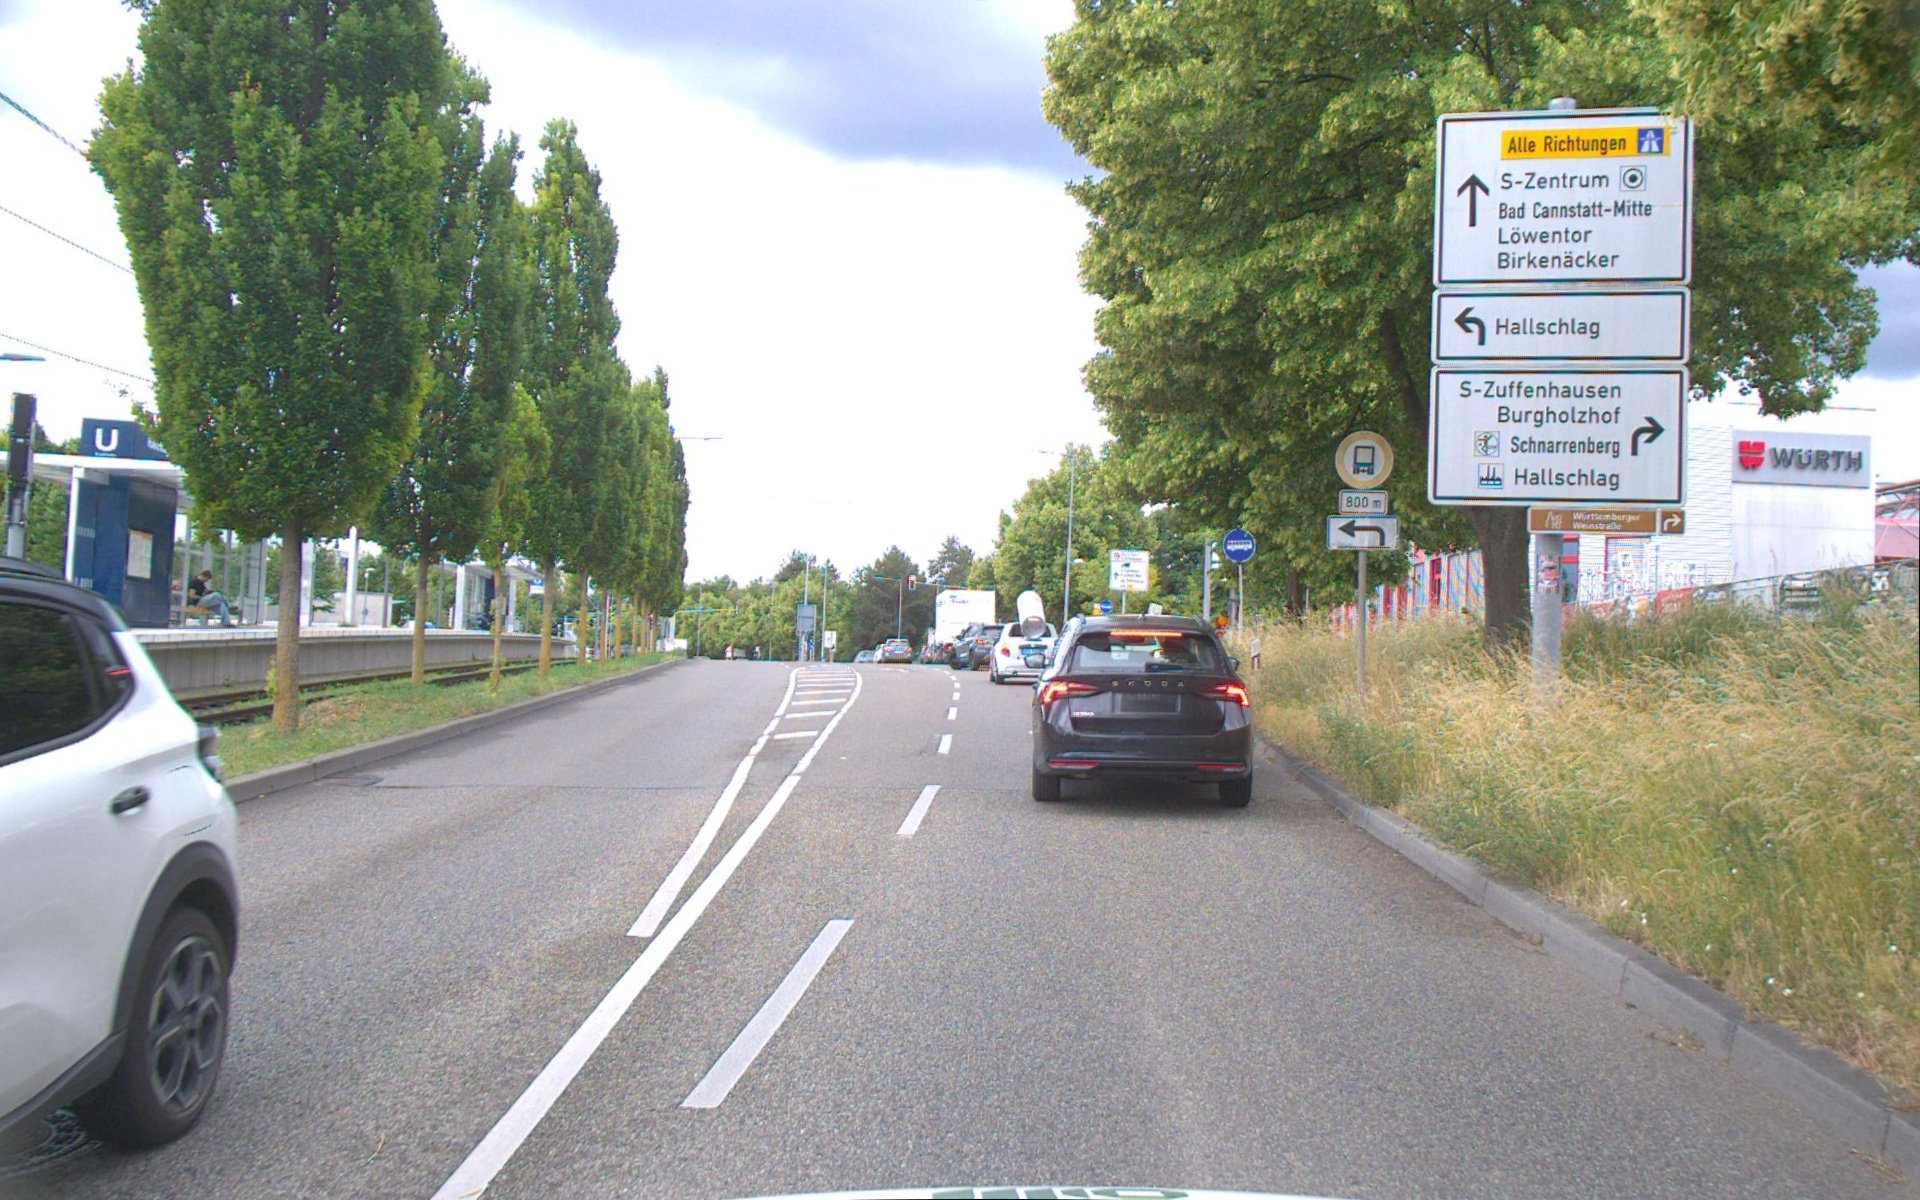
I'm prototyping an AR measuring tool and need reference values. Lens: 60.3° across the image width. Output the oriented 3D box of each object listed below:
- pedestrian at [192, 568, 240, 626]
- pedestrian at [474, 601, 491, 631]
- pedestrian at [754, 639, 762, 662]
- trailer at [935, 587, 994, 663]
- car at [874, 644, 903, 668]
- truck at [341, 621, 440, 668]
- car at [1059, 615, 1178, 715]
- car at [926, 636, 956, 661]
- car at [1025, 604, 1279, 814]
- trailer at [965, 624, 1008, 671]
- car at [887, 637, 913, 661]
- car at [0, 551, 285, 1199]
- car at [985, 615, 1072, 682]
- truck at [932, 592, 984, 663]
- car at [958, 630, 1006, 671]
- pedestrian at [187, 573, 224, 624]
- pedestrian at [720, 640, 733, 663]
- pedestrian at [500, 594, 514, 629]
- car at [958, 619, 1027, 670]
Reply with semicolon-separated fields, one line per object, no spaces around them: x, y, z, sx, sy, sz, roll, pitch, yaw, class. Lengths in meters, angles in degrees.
-15.933;-0.062;35.434;0.746;1.220;0.664;1;-1;-6;pedestrian
-20.572;0.690;71.287;0.599;1.291;0.658;1;0;-10;pedestrian
-14.634;3.669;119.785;0.575;1.650;0.422;1;0;-7;pedestrian
0.168;1.413;87.077;2.515;3.771;7.755;1;-3;-4;trailer
-4.701;3.703;108.730;1.688;1.447;4.351;1;-3;-5;car
-46.624;3.605;135.519;7.093;3.662;2.691;1;0;-2;truck
2.519;1.000;26.991;1.590;1.483;3.689;1;0;0;car
-1.173;2.981;101.199;1.775;1.378;4.117;2;0;-1;car
1.553;0.806;14.151;1.797;1.457;4.280;2;0;4;car
0.930;1.697;59.570;1.380;1.622;3.302;1;-2;-2;trailer
-3.629;2.940;99.741;1.494;1.378;3.489;1;0;-2;car
-2.868;0.661;3.233;1.681;1.548;3.742;1;0;-3;car
1.587;1.153;39.272;1.684;1.483;3.693;1;-2;-3;car
-0.131;1.577;91.057;2.520;3.771;4.101;1;-3;-4;truck
0.822;1.952;63.462;1.638;1.473;4.487;1;-2;-2;car
-16.509;-0.028;36.181;0.595;1.098;0.470;1;0;-6;pedestrian
-16.740;3.688;118.473;0.847;1.588;0.517;1;0;-7;pedestrian
-25.274;0.648;92.287;0.561;1.860;0.791;2;-3;-9;pedestrian
1.006;1.411;53.689;1.666;1.512;3.994;2;0;-7;car
